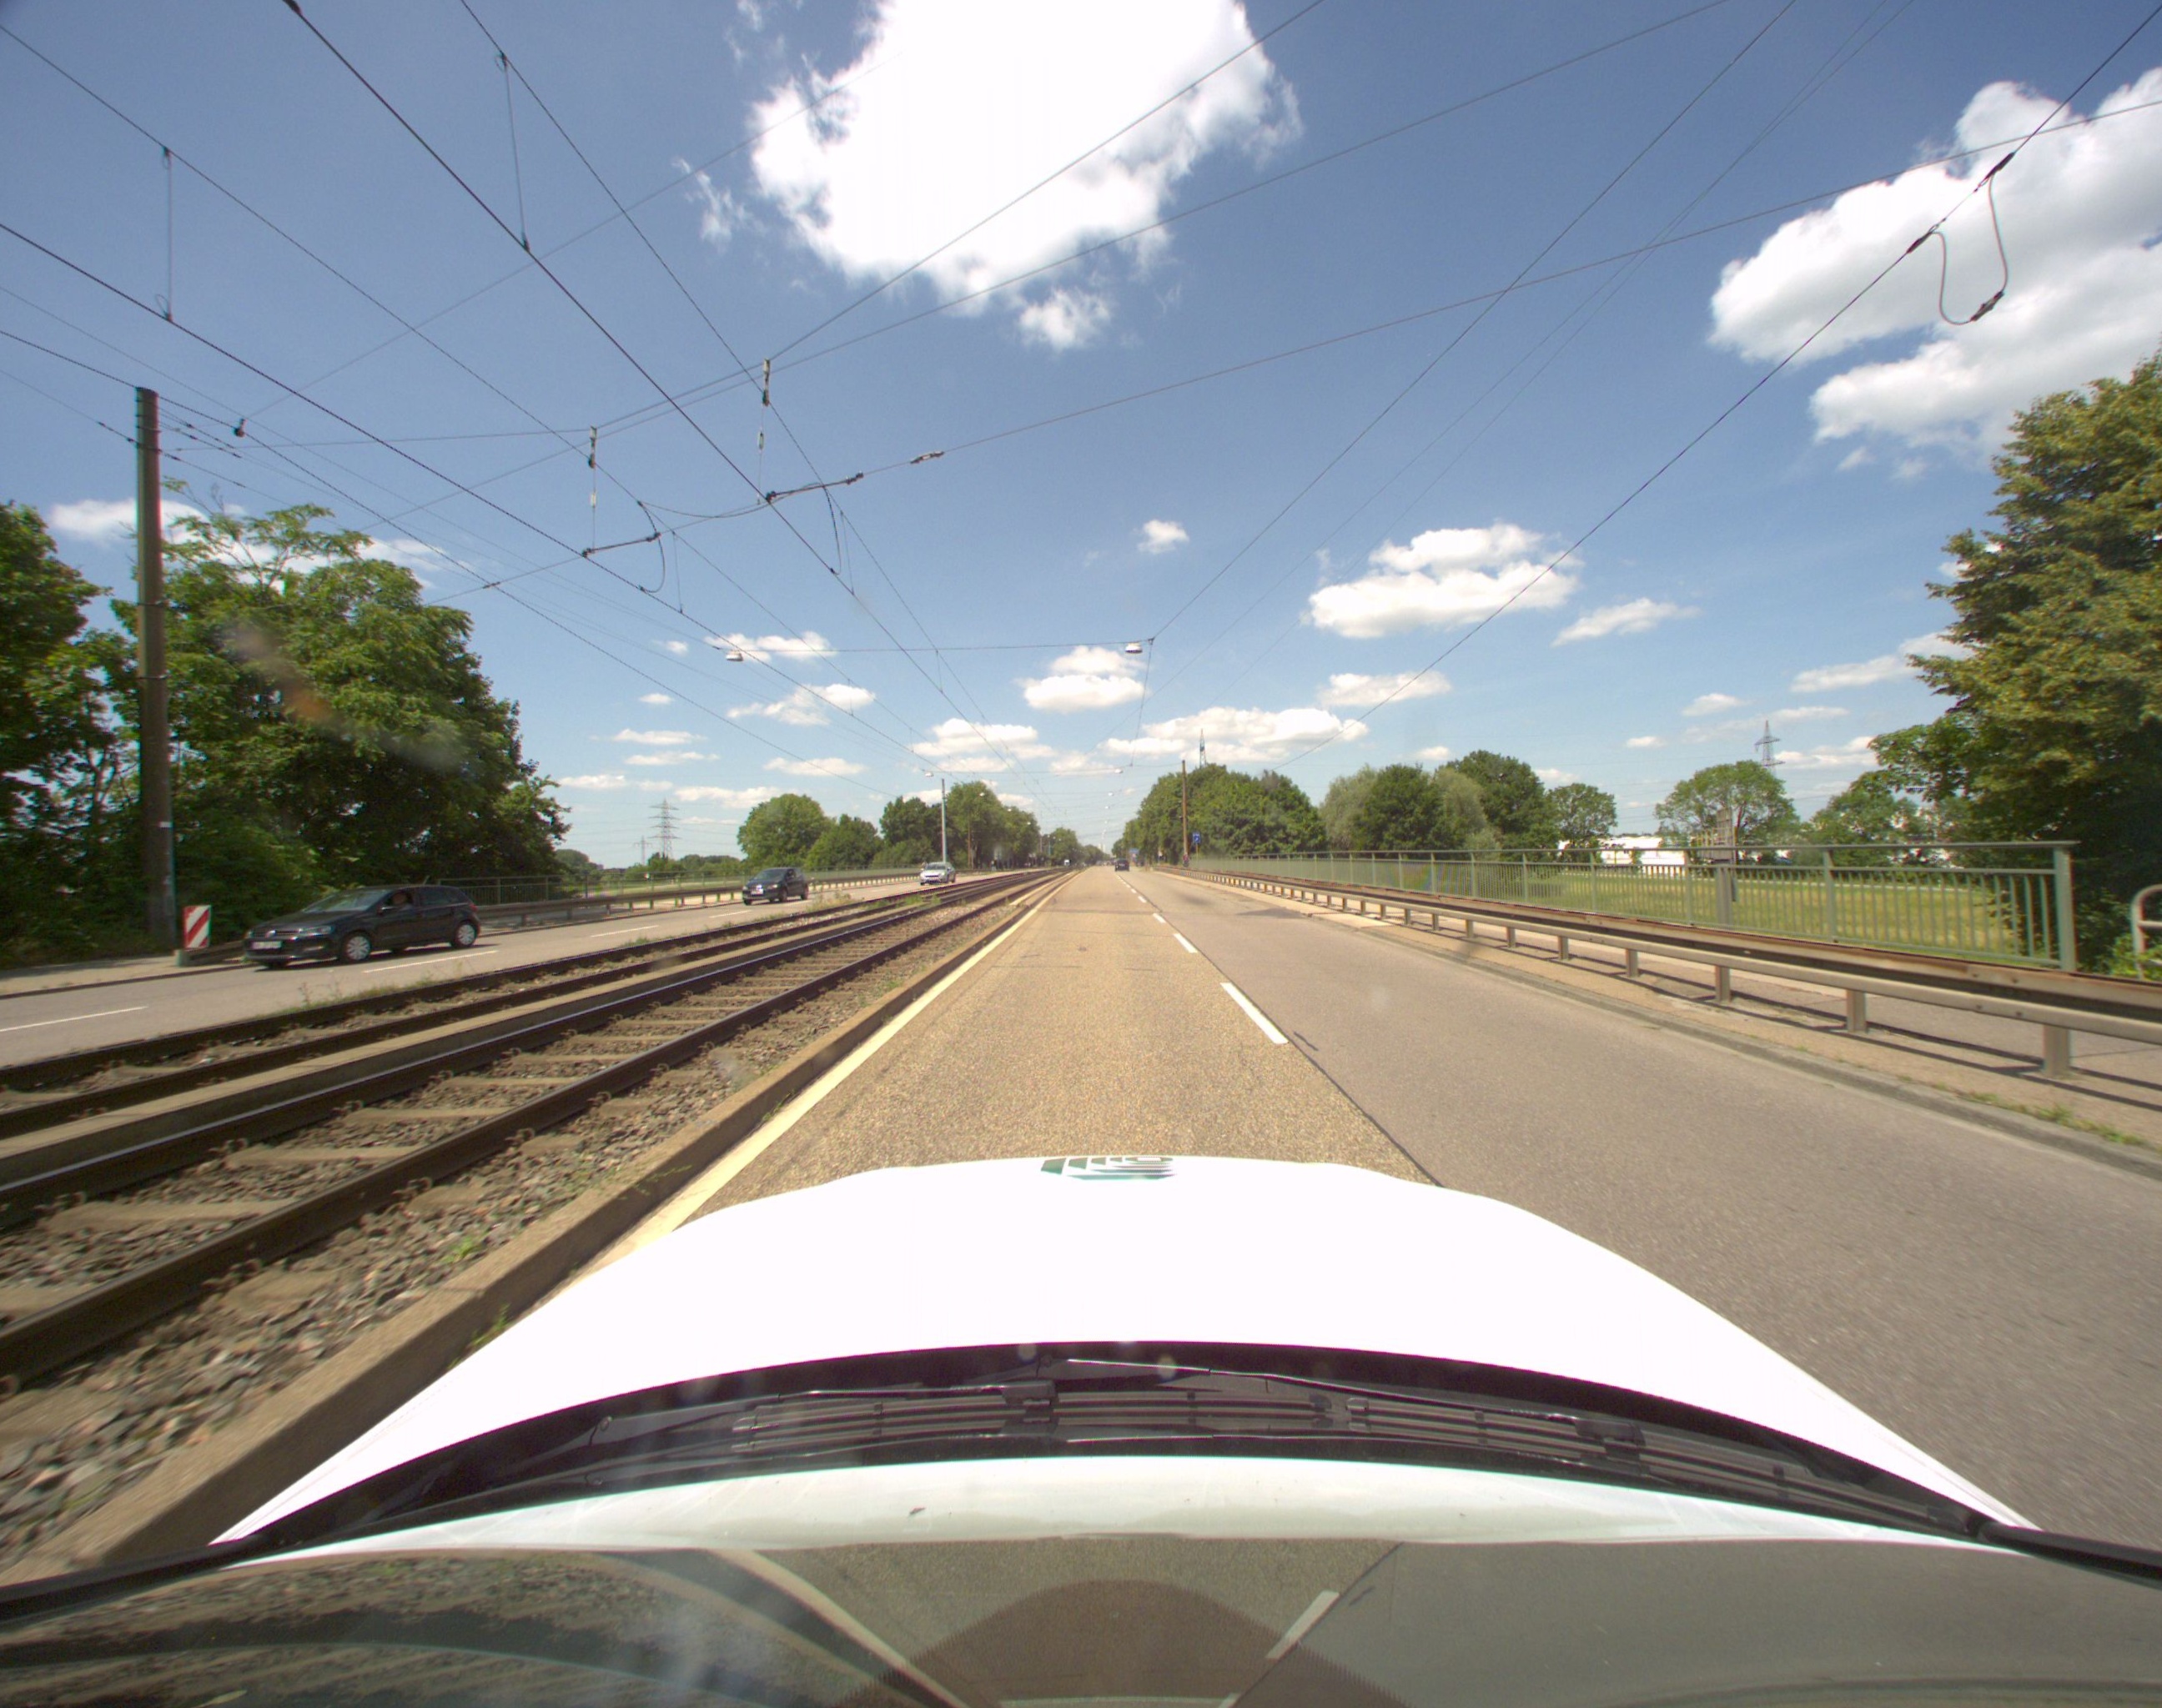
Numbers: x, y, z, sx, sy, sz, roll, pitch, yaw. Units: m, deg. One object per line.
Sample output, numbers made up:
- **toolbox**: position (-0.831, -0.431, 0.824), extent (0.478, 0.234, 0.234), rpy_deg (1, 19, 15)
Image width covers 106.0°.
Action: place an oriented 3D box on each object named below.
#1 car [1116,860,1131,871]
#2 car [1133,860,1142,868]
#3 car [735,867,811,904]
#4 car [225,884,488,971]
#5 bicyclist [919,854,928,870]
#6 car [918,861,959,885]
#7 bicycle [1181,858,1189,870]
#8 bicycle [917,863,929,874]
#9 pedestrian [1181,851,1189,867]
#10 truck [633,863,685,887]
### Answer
- **car**: position (5.323, 1.423, 102.416), extent (1.581, 1.343, 3.271), rpy_deg (-2, 0, 0)
- **car**: position (13.230, 2.322, 190.369), extent (1.986, 1.970, 4.002), rpy_deg (0, -1, 2)
- **car**: position (-12.851, 1.270, 34.220), extent (1.568, 1.400, 3.938), rpy_deg (-2, -1, 1)
- **car**: position (-13.982, 1.340, 16.061), extent (1.557, 1.347, 3.930), rpy_deg (-2, -1, 2)
- **bicyclist**: position (-16.270, 0.825, 84.132), extent (0.760, 1.622, 0.838), rpy_deg (0, -1, 1)
- **car**: position (-9.346, 1.228, 53.641), extent (1.705, 1.420, 4.625), rpy_deg (-2, -1, 2)
- **bicycle**: position (9.569, 0.915, 74.968), extent (0.557, 1.024, 1.848), rpy_deg (-2, -1, 1)
- **bicycle**: position (-16.303, 1.481, 84.199), extent (0.854, 1.185, 2.062), rpy_deg (0, -1, 1)
- **pedestrian**: position (9.559, 0.471, 75.045), extent (0.625, 1.374, 1.051), rpy_deg (-2, -1, 1)
- **truck**: position (-103.107, 5.188, 199.177), extent (10.848, 5.637, 3.263), rpy_deg (2, 1, -32)
